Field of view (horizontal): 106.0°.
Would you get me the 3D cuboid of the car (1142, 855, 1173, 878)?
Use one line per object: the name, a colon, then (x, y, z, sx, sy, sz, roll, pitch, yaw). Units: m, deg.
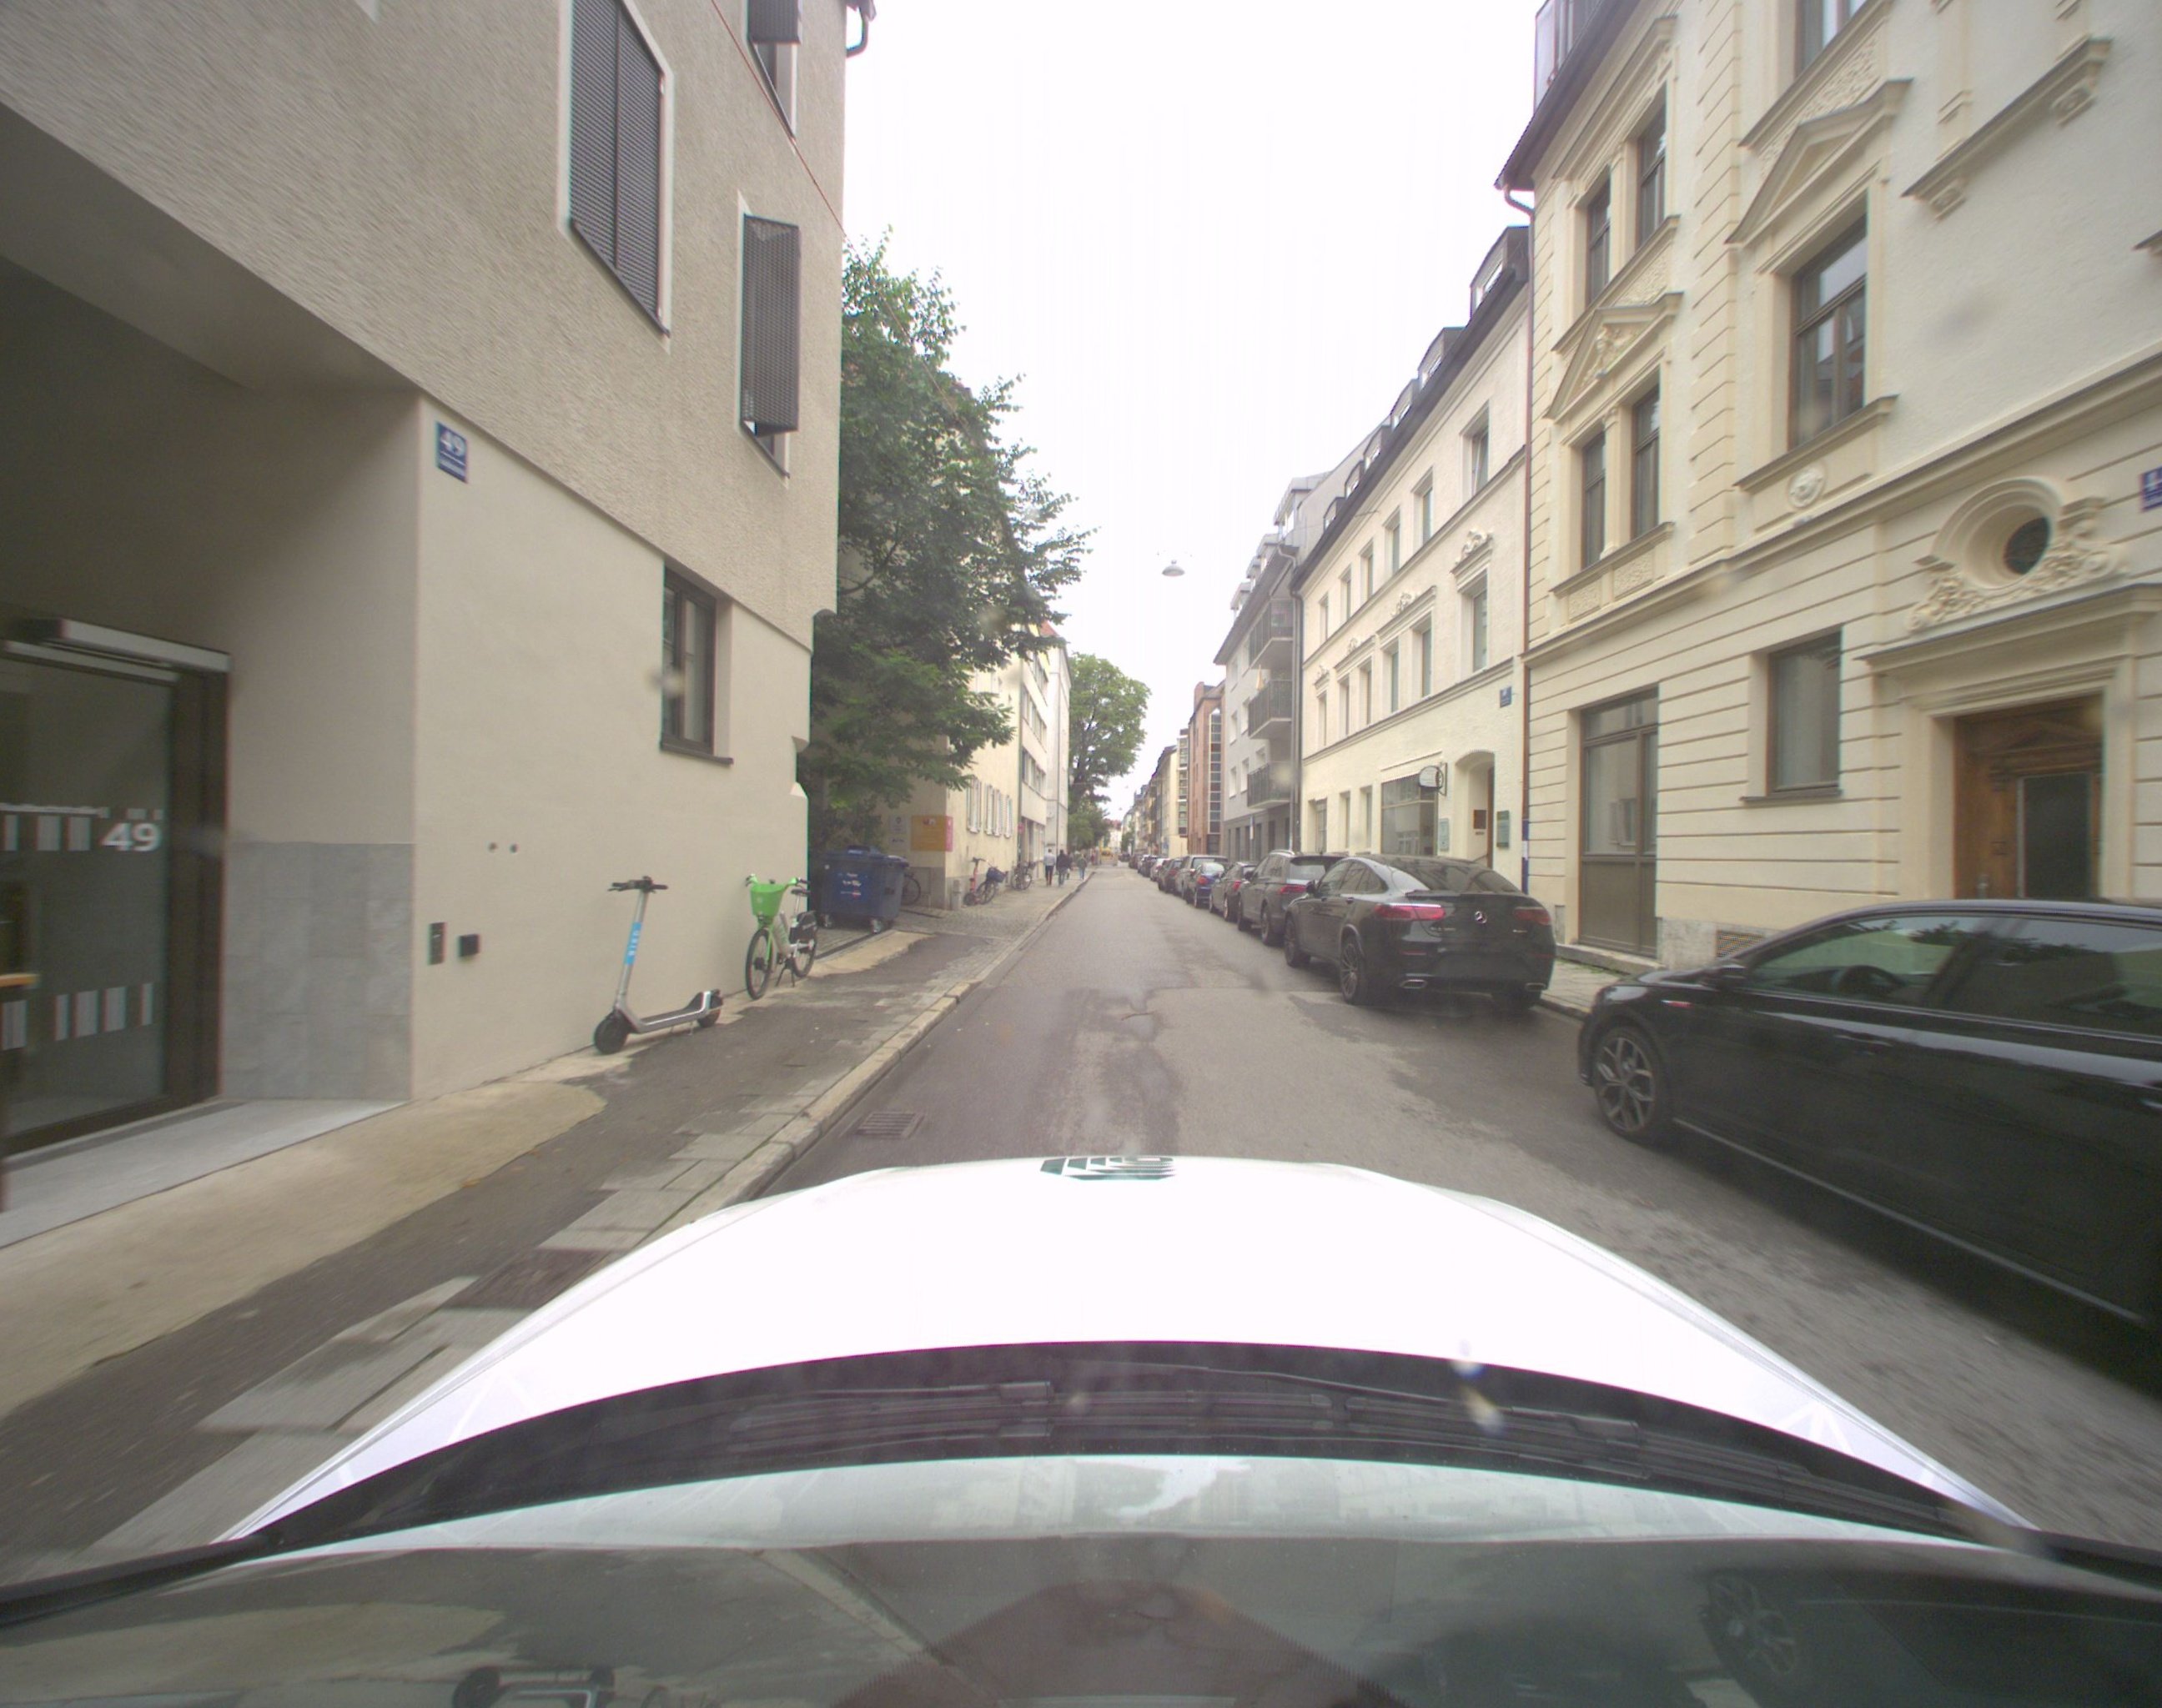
car: (5.583, 0.877, 59.862, 1.879, 1.555, 4.391, 1, 0, 0)

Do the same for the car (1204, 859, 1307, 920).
car: (4.293, 0.820, 20.658, 1.793, 1.386, 4.350, 0, 0, 1)

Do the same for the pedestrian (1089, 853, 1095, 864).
pedestrian: (1.533, 0.599, 110.096, 0.753, 1.491, 0.831, 0, -1, 2)

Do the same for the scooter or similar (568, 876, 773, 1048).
scooter or similar: (-3.115, 0.759, 6.318, 0.547, 1.144, 1.364, 3, 0, 19)

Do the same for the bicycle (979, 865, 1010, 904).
bicycle: (-2.476, 0.858, 23.447, 0.702, 0.984, 1.821, 5, -1, -2)

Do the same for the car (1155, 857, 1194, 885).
car: (5.175, 0.916, 45.414, 1.739, 1.462, 4.151, 1, 0, 1)

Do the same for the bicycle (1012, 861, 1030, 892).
bicycle: (-2.324, 0.846, 31.592, 0.456, 1.159, 1.606, 3, -1, 3)

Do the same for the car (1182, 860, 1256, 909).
car: (4.191, 0.883, 25.200, 1.801, 1.363, 3.948, 0, 0, 3)

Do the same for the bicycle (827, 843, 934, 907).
bicycle: (-4.491, 0.454, 18.302, 2.192, 1.299, 0.514, 3, 0, 1)

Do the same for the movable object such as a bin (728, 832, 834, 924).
movable object such as a bin: (-5.084, 0.379, 13.907, 1.169, 1.405, 1.250, 5, 1, 4)

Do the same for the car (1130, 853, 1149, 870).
car: (6.872, 0.906, 96.343, 1.795, 1.820, 3.999, 4, 0, 0)

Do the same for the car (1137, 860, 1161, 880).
car: (5.877, 1.365, 70.539, 1.743, 1.630, 4.196, 0, 0, 0)

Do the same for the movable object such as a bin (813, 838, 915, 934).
movable object such as a bin: (-3.665, 0.511, 13.881, 1.168, 1.442, 1.251, 6, 1, 8)

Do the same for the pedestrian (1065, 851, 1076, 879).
pedestrian: (-0.659, 0.672, 51.023, 0.610, 1.713, 0.823, 3, -1, 1)

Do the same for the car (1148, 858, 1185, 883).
car: (5.218, 0.972, 50.015, 1.830, 1.417, 4.601, 1, 0, 1)

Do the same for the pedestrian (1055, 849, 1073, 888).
pedestrian: (-0.793, 0.682, 37.795, 0.715, 1.765, 0.838, 2, -1, 2)

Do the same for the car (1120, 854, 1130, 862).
car: (9.344, 0.826, 174.049, 1.795, 1.712, 3.826, 4, 0, 0)

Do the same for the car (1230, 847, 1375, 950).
car: (4.017, 0.723, 15.503, 1.670, 1.661, 4.514, 1, 0, 2)

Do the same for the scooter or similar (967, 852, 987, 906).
scooter or similar: (-2.767, 0.655, 21.722, 0.316, 1.376, 1.239, 0, -1, 2)

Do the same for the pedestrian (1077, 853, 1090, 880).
pedestrian: (0.160, 0.786, 51.277, 0.750, 1.659, 0.907, 3, -1, 2)

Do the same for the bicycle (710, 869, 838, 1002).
bicycle: (-3.088, 0.766, 8.384, 0.542, 1.161, 1.882, 2, 0, 0)

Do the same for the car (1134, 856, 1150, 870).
car: (6.876, 0.990, 91.979, 1.618, 1.487, 3.810, 1, 0, 2)

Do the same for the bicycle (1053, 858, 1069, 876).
bicycle: (-1.386, 0.919, 56.267, 0.643, 1.217, 1.655, 0, -1, -17)

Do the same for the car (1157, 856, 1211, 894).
car: (4.358, 0.849, 35.009, 1.833, 1.528, 4.293, 1, 0, 1)

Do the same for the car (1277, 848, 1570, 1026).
car: (3.710, 0.764, 9.827, 1.695, 1.607, 4.686, 1, 0, 2)

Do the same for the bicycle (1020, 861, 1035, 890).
bicycle: (-2.184, 0.864, 33.305, 0.560, 1.159, 1.718, 1, -1, -4)

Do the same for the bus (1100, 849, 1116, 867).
bus: (4.736, 0.734, 142.357, 2.582, 3.102, 6.309, 0, -1, 2)

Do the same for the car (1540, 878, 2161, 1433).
car: (3.773, 0.866, 3.277, 1.670, 1.393, 4.067, 1, 0, 2)

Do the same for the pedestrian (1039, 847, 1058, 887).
pedestrian: (-1.501, 0.605, 37.585, 0.715, 1.796, 0.917, 2, -1, 2)

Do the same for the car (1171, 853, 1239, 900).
car: (4.498, 0.775, 30.117, 1.869, 1.570, 4.316, -1, 0, 0)
